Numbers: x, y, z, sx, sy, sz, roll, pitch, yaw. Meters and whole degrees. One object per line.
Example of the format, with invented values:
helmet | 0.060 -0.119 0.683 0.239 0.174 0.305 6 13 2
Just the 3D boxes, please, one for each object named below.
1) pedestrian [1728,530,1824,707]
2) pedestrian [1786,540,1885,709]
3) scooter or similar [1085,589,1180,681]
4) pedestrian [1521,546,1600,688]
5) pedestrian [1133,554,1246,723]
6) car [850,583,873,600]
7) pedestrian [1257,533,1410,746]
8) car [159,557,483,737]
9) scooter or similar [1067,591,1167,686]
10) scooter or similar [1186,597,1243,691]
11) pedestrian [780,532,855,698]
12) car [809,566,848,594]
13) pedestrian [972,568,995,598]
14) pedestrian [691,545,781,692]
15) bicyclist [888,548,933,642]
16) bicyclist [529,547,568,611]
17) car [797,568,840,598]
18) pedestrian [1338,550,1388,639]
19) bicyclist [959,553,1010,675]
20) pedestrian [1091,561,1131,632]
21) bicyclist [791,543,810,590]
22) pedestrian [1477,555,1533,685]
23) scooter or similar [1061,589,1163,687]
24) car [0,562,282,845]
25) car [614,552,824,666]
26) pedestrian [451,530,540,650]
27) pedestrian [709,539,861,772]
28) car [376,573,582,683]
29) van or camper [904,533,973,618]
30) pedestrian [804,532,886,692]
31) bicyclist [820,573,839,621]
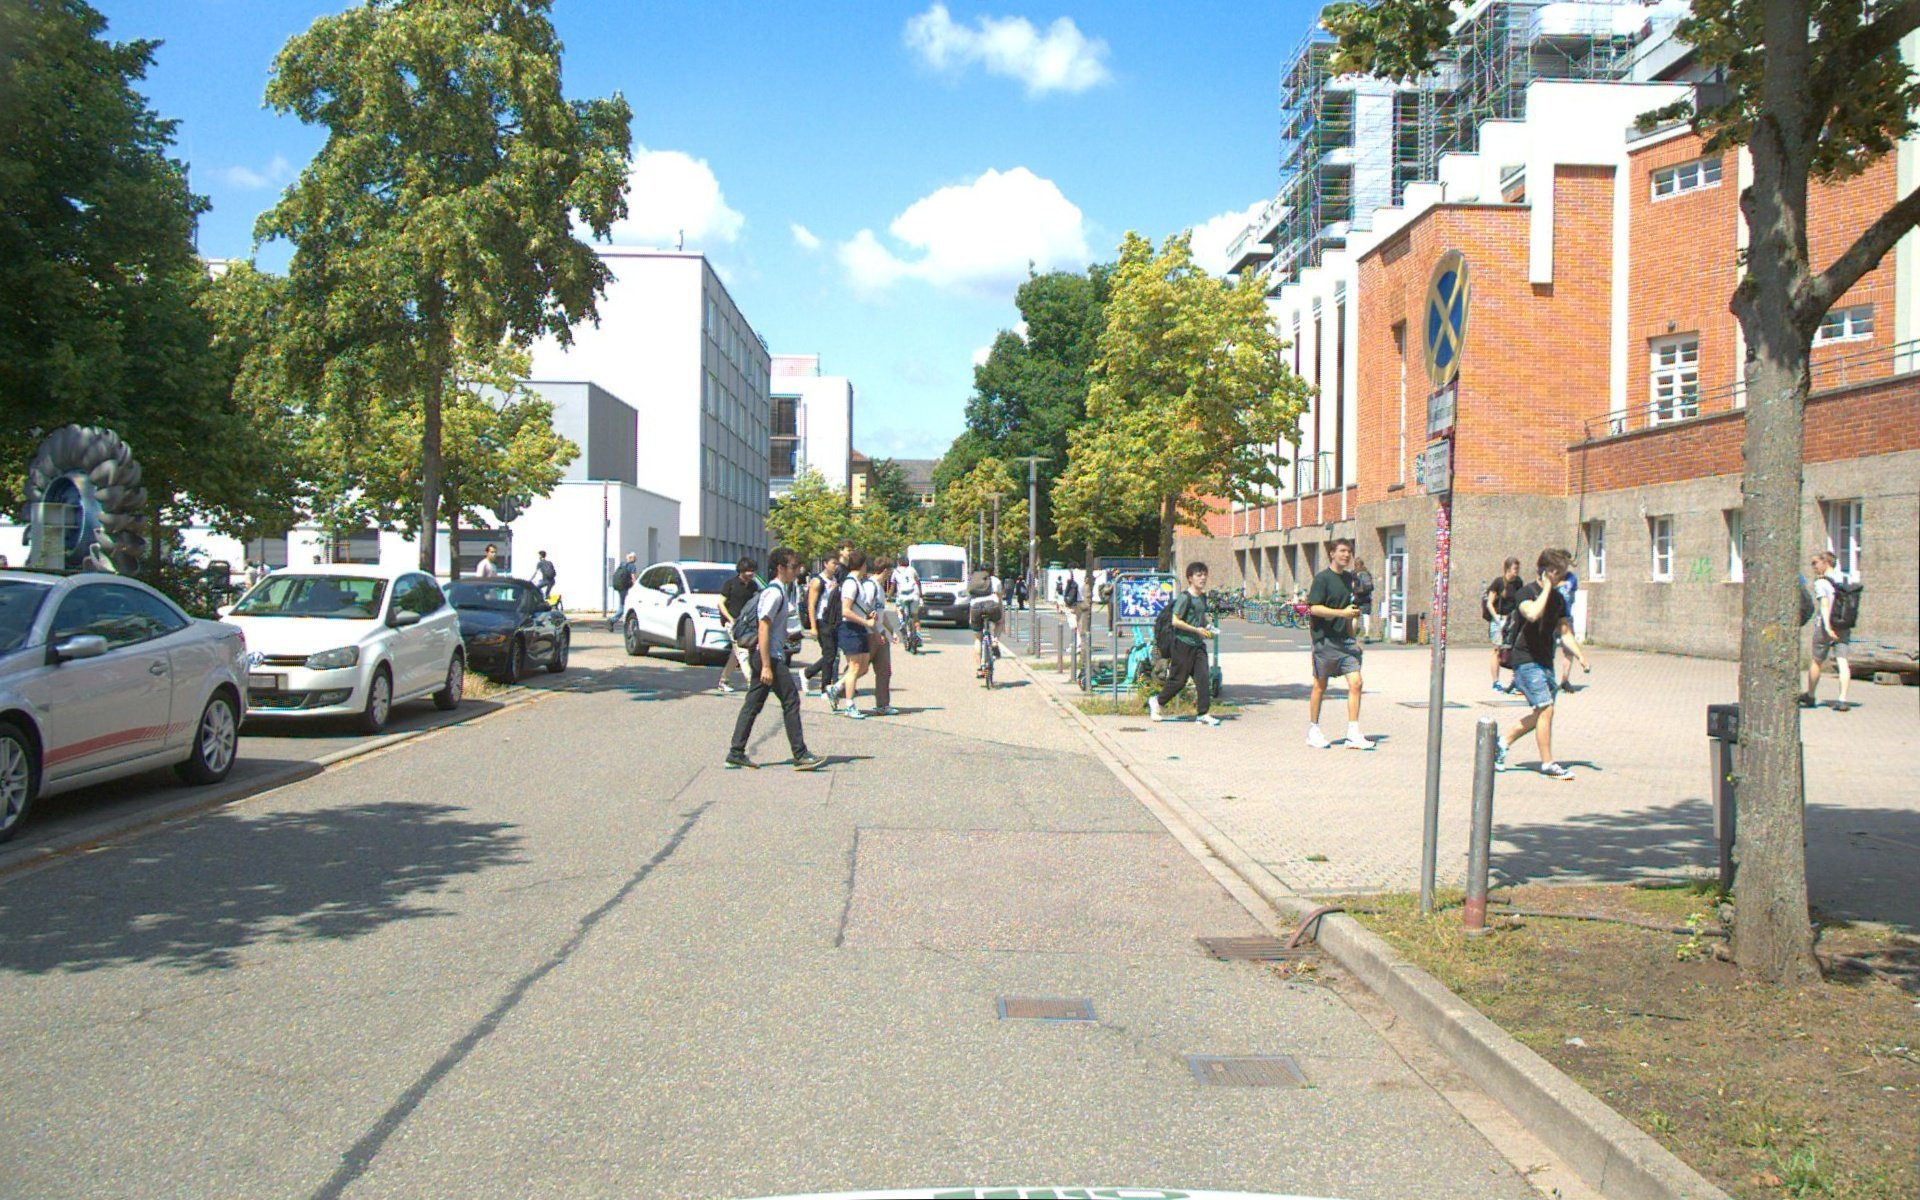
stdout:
pedestrian | 9.176 0.187 18.632 0.686 1.924 0.995 -2 2 11
pedestrian | 9.803 0.255 18.545 0.686 1.834 0.995 -1 1 9
scooter or similar | 2.516 0.492 24.131 1.237 1.287 0.638 1 1 31
pedestrian | 7.839 0.211 21.609 0.695 1.819 0.751 -1 1 -9
pedestrian | 2.467 0.389 17.801 0.698 1.749 0.978 -2 2 -44
car | -9.119 -0.818 153.693 1.758 1.556 4.002 0 1 2
pedestrian | 3.462 0.338 15.365 0.845 1.892 1.102 0 1 -36
car | -5.838 0.354 15.600 1.629 1.436 3.806 2 1 -2
scooter or similar | 2.208 0.532 23.289 1.237 1.287 0.649 1 1 31
scooter or similar | 3.360 0.563 21.789 0.635 1.180 1.266 0 1 14
pedestrian | -1.779 0.180 20.622 0.610 2.015 0.819 0 -1 -33
car | -7.503 -1.156 94.716 1.758 1.556 4.002 0 1 2
pedestrian | 1.668 -1.220 116.808 1.470 2.030 1.645 -2 2 -3
pedestrian | -2.823 0.213 20.913 0.785 1.803 0.855 2 2 20
bicyclist | -0.979 -0.108 32.464 0.756 1.786 0.847 -2 1 -6
bicyclist | -11.653 -0.601 46.826 0.680 1.787 0.807 1 0 40
car | -7.465 -0.913 87.304 1.758 1.556 4.002 0 1 2
pedestrian | 8.676 -0.127 35.639 0.774 1.892 1.116 0 1 -3
bicyclist | 0.346 0.183 23.492 0.702 1.691 1.095 0 0 0
pedestrian | 3.837 -0.095 42.104 0.836 1.763 1.159 0 1 -4
bicyclist | -5.629 -1.174 58.473 0.630 1.629 0.908 0 1 -3
pedestrian | 7.069 0.251 21.472 0.492 1.659 0.570 -1 1 -9
scooter or similar | 2.070 0.505 22.530 1.237 1.287 0.649 1 1 31
car | -5.672 0.493 9.627 1.690 1.367 4.165 3 1 0
car | -4.127 0.101 27.650 1.898 1.647 4.475 4 0 -30
pedestrian | -7.793 -0.165 27.743 1.007 1.936 1.163 3 -1 -37
pedestrian | -1.388 0.423 13.124 1.084 1.745 0.709 3 2 -7
car | -6.254 0.306 21.935 1.611 1.323 3.927 0 1 0
van or camper | -0.616 -0.716 50.688 1.952 2.488 4.570 0 0 1
pedestrian | -1.486 0.142 21.369 0.809 2.014 0.692 2 2 20
bicyclist | -4.740 -0.119 60.292 0.654 1.711 0.992 0 1 -4
